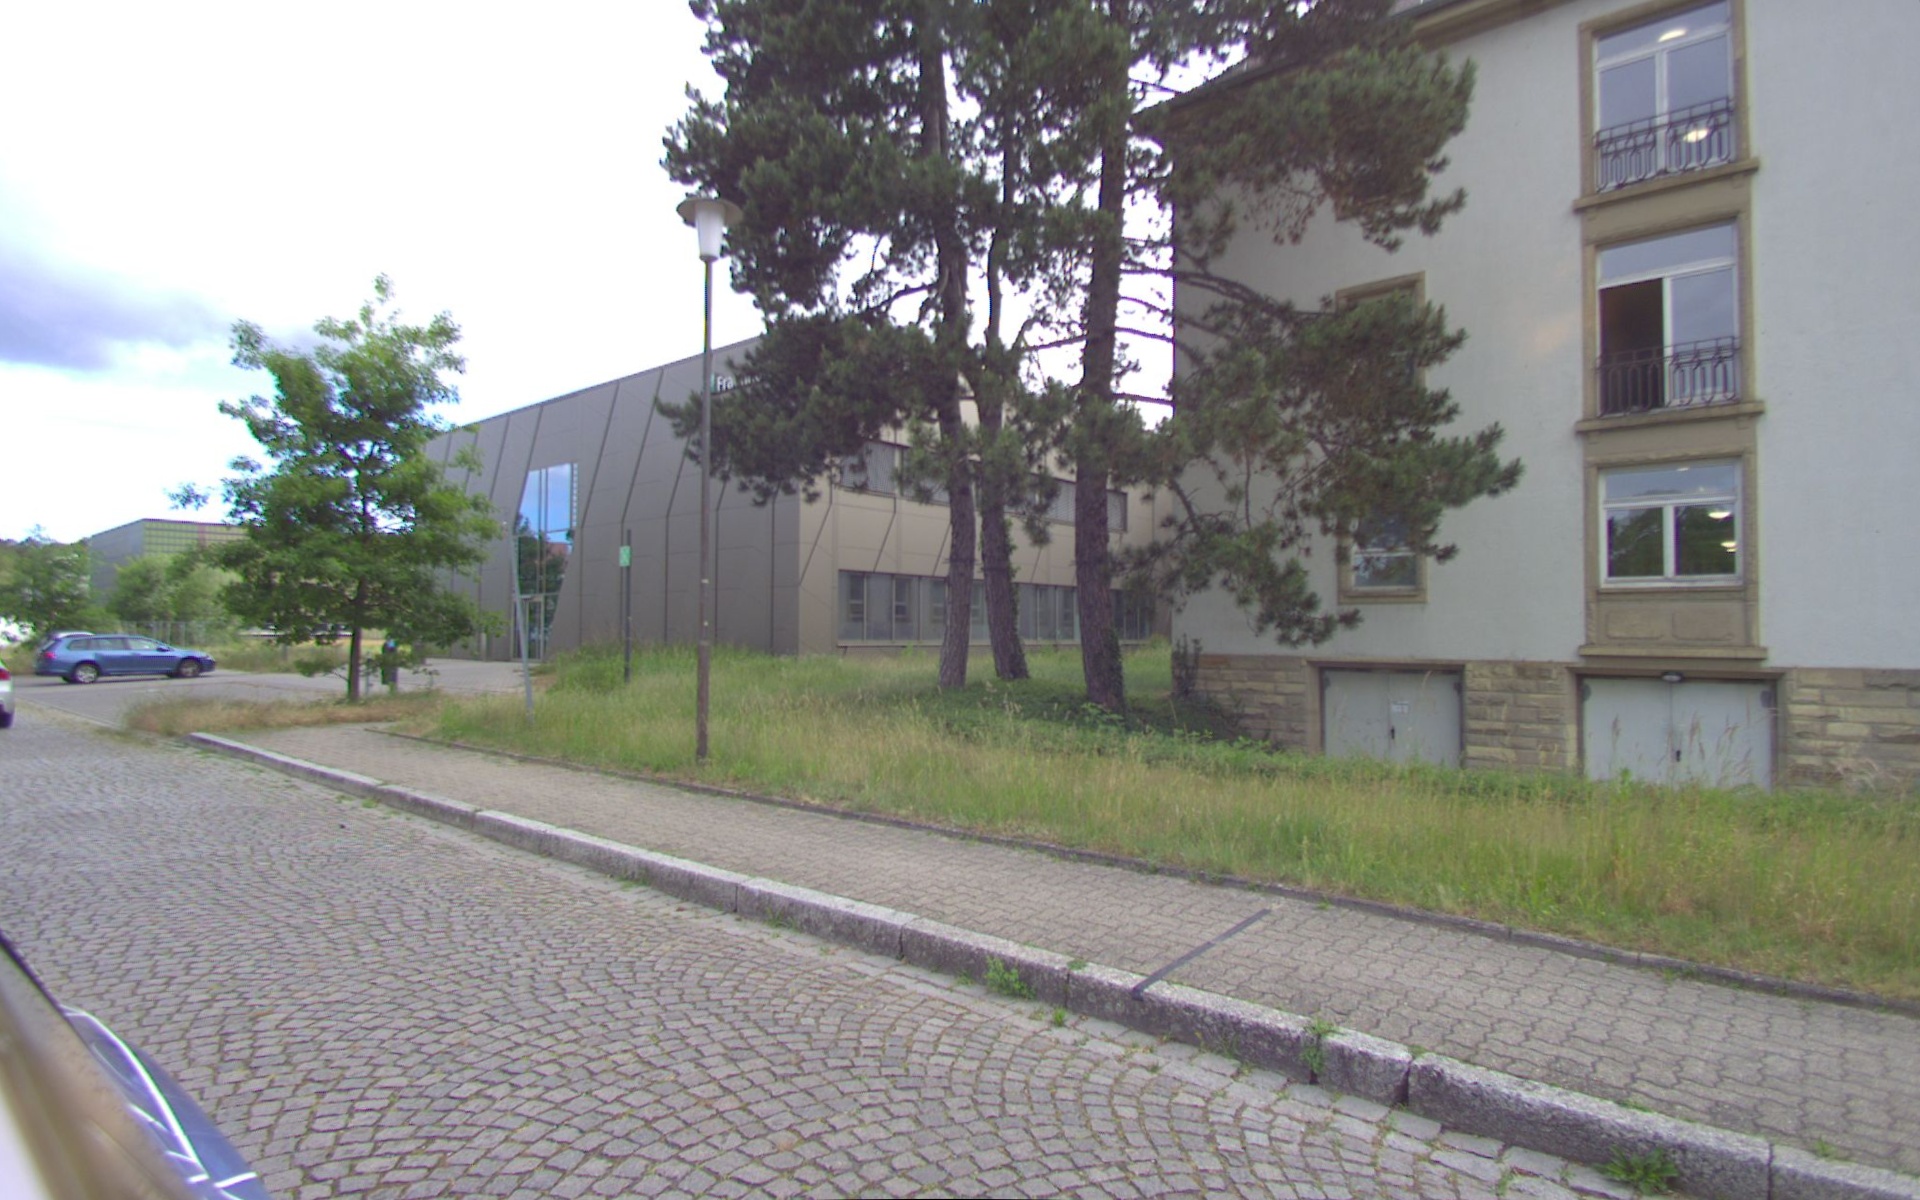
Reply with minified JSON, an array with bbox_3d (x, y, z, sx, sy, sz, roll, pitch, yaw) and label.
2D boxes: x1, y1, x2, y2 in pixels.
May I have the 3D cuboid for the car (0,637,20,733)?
[{"bbox_3d":[-16.696,1.284,16.154,4.212,1.449,1.756,-2,-6,38],"label":"car"}]

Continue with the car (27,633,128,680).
[{"bbox_3d":[-32.030,2.026,36.757,1.498,1.541,2.552,-1,-1,39],"label":"car"}]

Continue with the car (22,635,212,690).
[{"bbox_3d":[-26.474,1.901,31.923,1.631,1.481,4.372,-1,-1,38],"label":"car"}]
